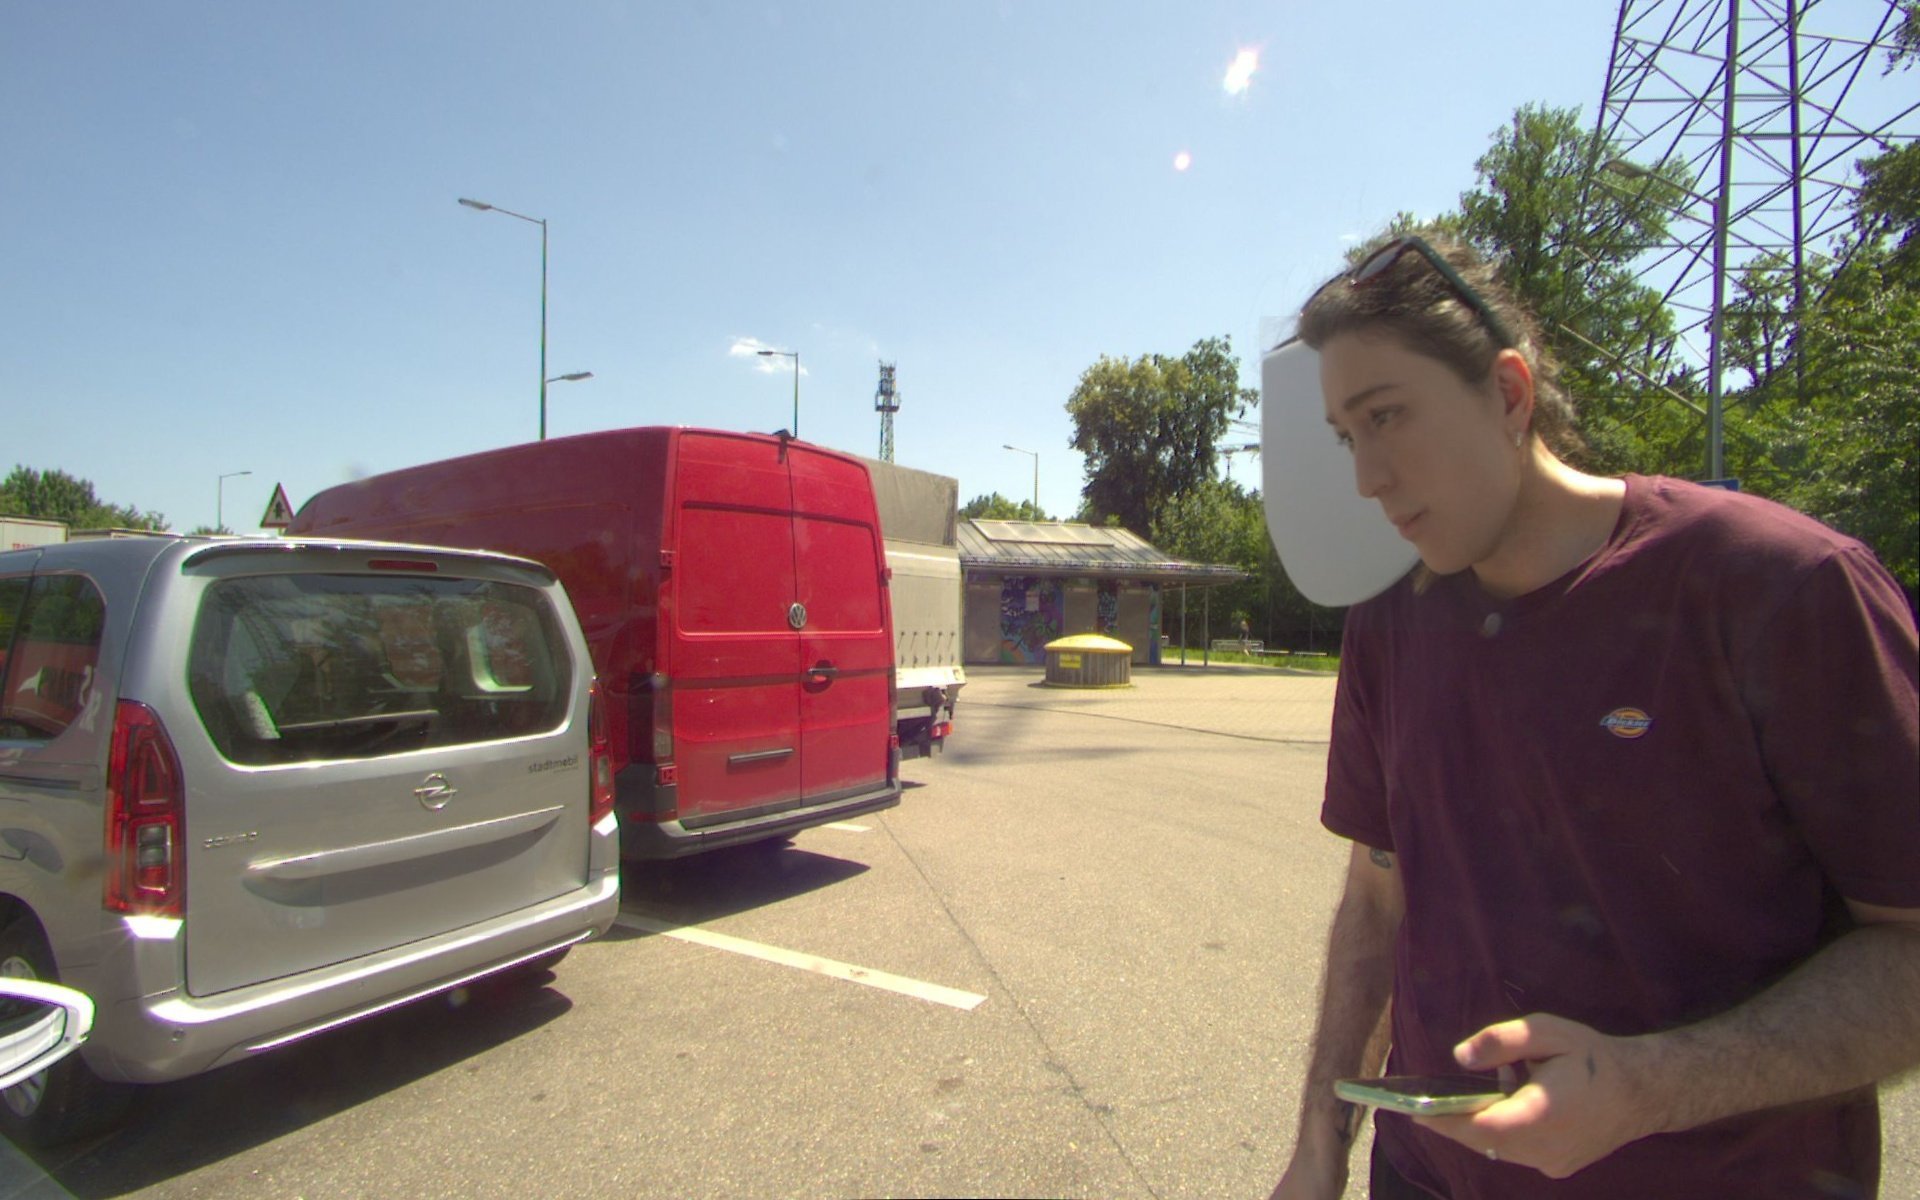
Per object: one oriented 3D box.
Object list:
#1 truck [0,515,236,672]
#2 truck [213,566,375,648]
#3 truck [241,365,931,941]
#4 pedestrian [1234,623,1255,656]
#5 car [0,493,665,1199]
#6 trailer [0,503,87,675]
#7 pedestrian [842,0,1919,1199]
[{"bbox_3d":[-28.005,-0.125,31.782,14.316,4.175,2.901,0,-3,33],"label":"truck"},{"bbox_3d":[-30.724,0.328,46.070,8.407,3.482,3.019,0,-1,33],"label":"truck"},{"bbox_3d":[-2.874,0.267,6.998,5.233,2.658,1.987,0,-1,37],"label":"truck"},{"bbox_3d":[12.278,1.704,43.231,0.579,1.402,0.754,1,0,-8],"label":"pedestrian"},{"bbox_3d":[-3.360,0.641,4.213,3.938,1.776,1.824,0,-1,29],"label":"car"},{"bbox_3d":[-28.810,-0.285,28.028,13.374,4.178,2.871,0,-1,33],"label":"trailer"},{"bbox_3d":[0.513,0.449,0.866,0.926,1.798,0.827,0,-1,28],"label":"pedestrian"}]
